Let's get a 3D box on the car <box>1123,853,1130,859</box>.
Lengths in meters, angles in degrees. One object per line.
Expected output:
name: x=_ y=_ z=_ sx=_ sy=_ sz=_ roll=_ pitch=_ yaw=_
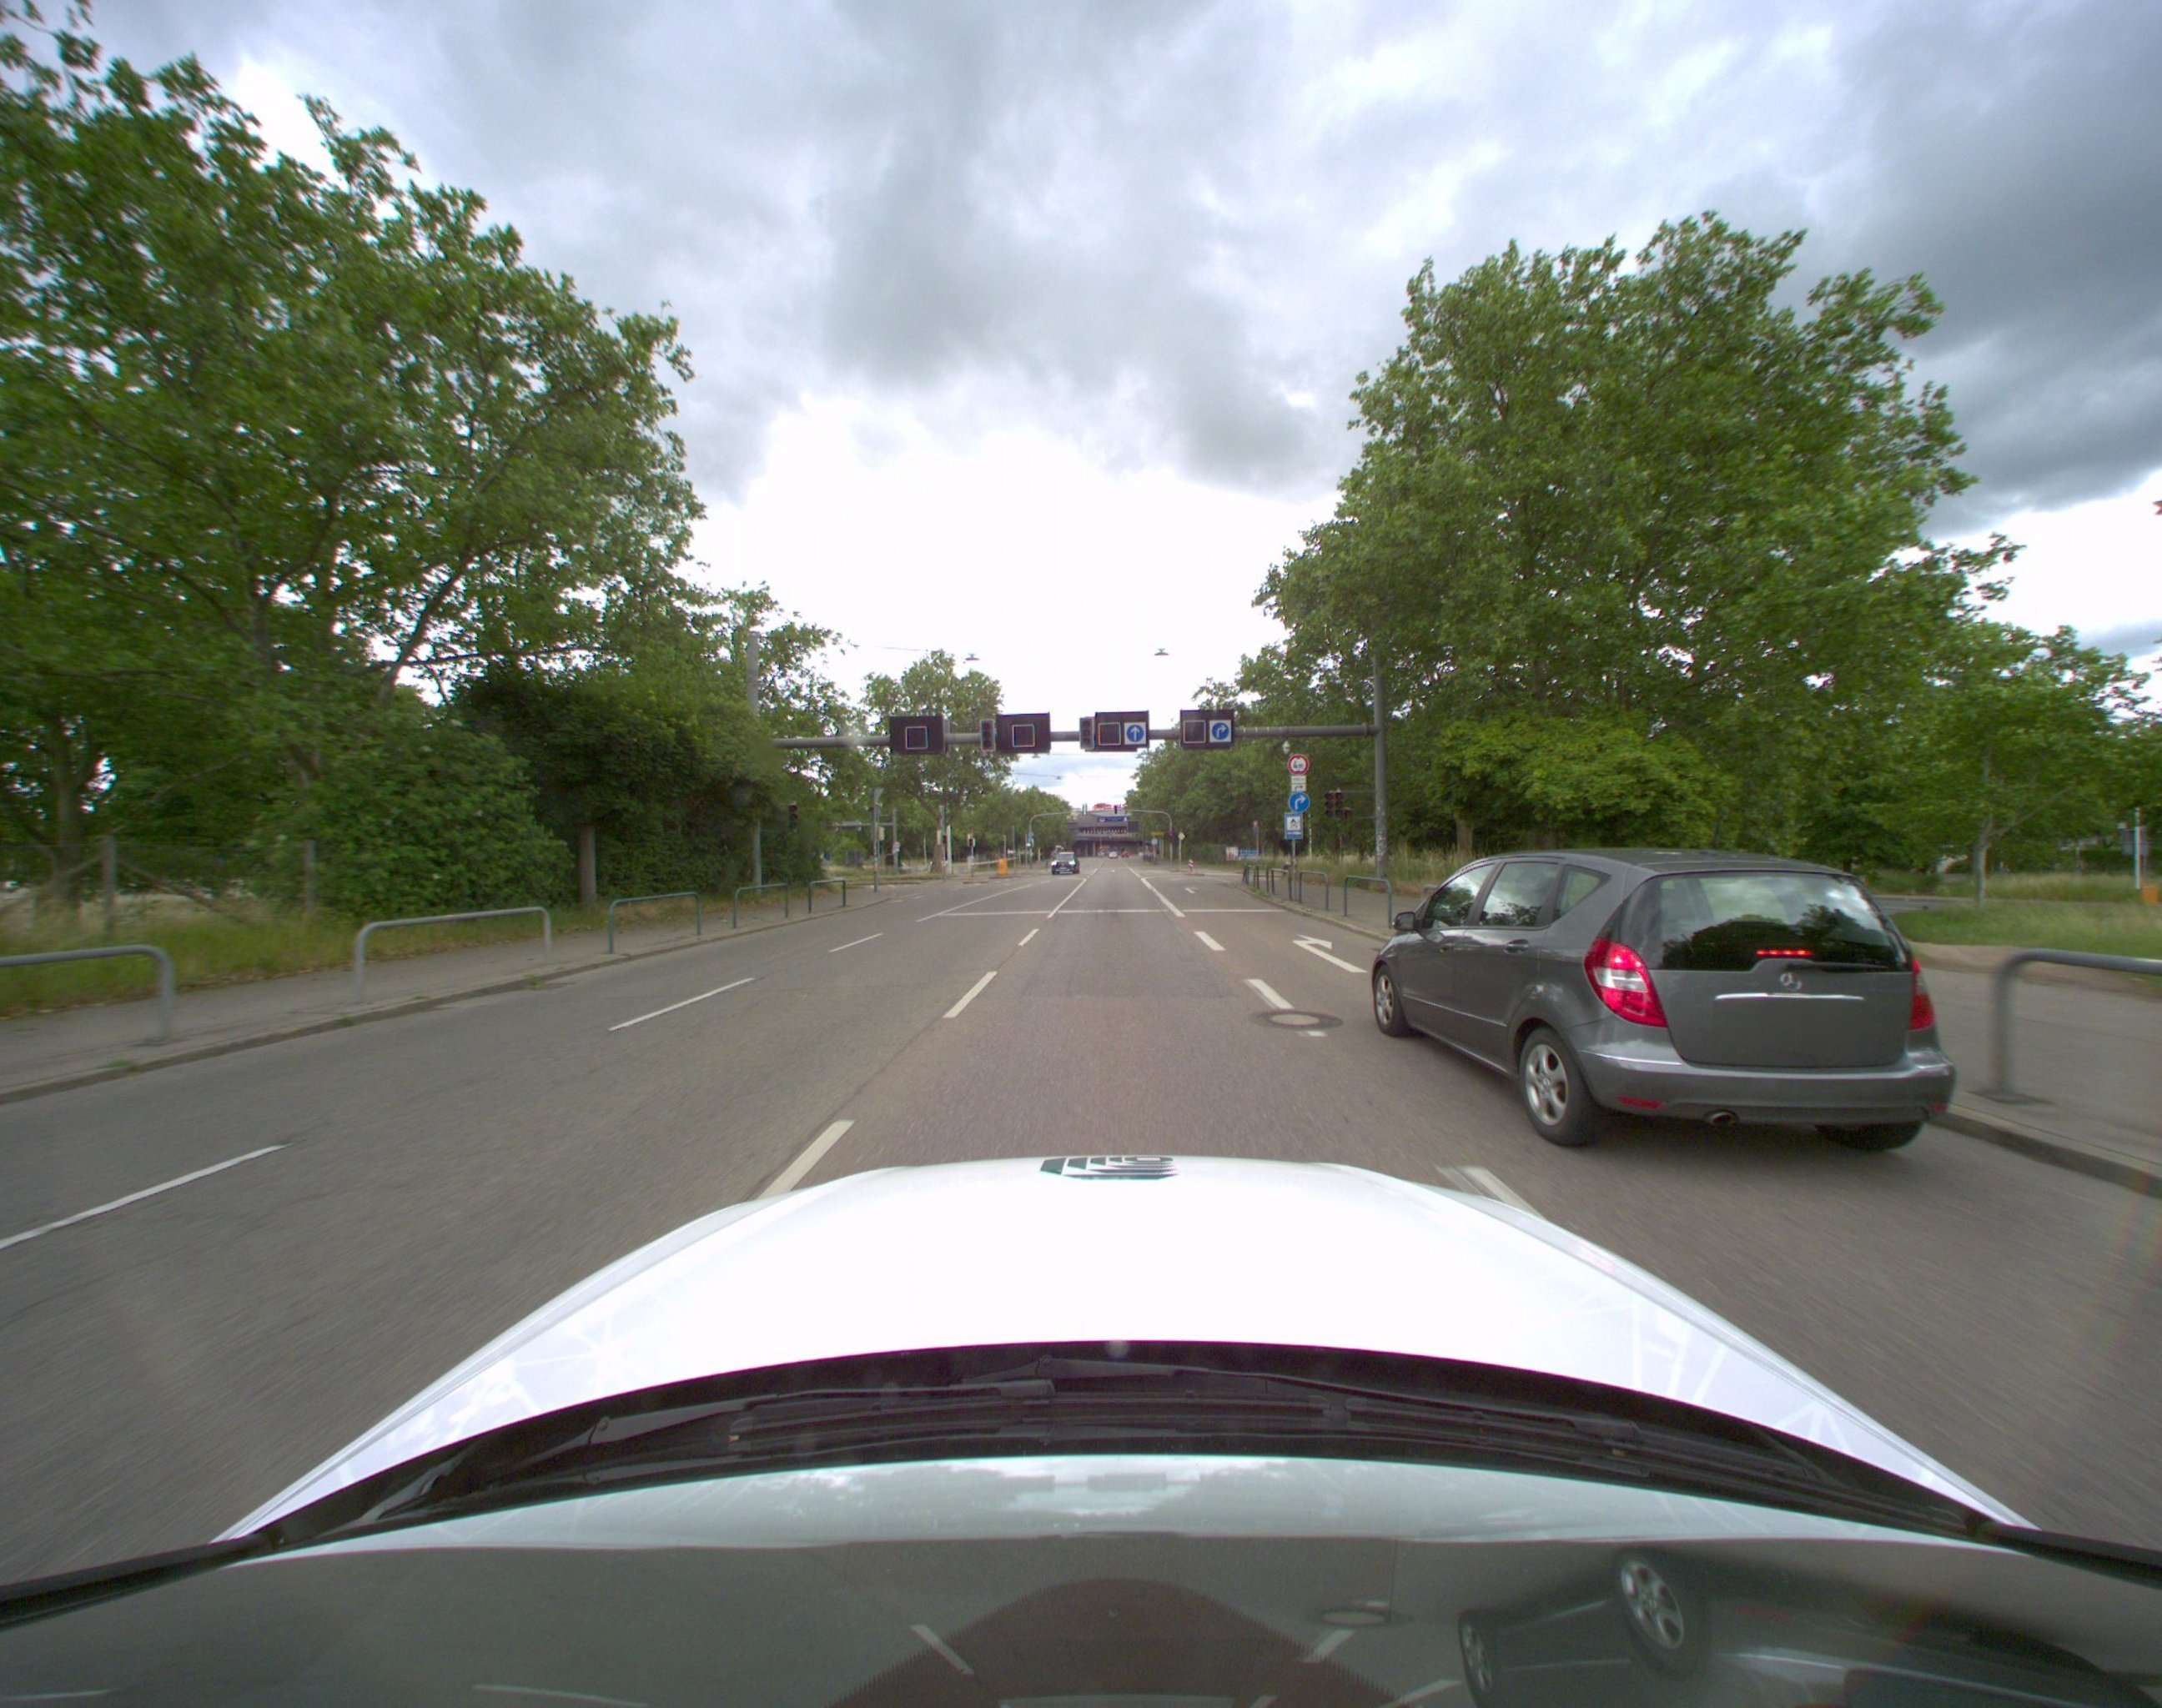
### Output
car: x=12.804 y=0.651 z=228.622 sx=1.999 sy=1.698 sz=4.073 roll=-1 pitch=0 yaw=3

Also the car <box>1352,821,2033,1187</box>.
car: x=3.378 y=0.649 z=5.636 sx=1.819 sy=1.616 sz=4.037 roll=-1 pitch=1 yaw=2

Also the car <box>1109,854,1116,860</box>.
car: x=7.965 y=0.722 z=204.975 sx=1.771 sy=1.460 sz=3.825 roll=0 pitch=0 yaw=3

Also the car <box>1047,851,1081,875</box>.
car: x=-1.263 y=0.692 z=62.711 sx=1.984 sy=1.660 sz=4.523 roll=-3 pitch=0 yaw=5
